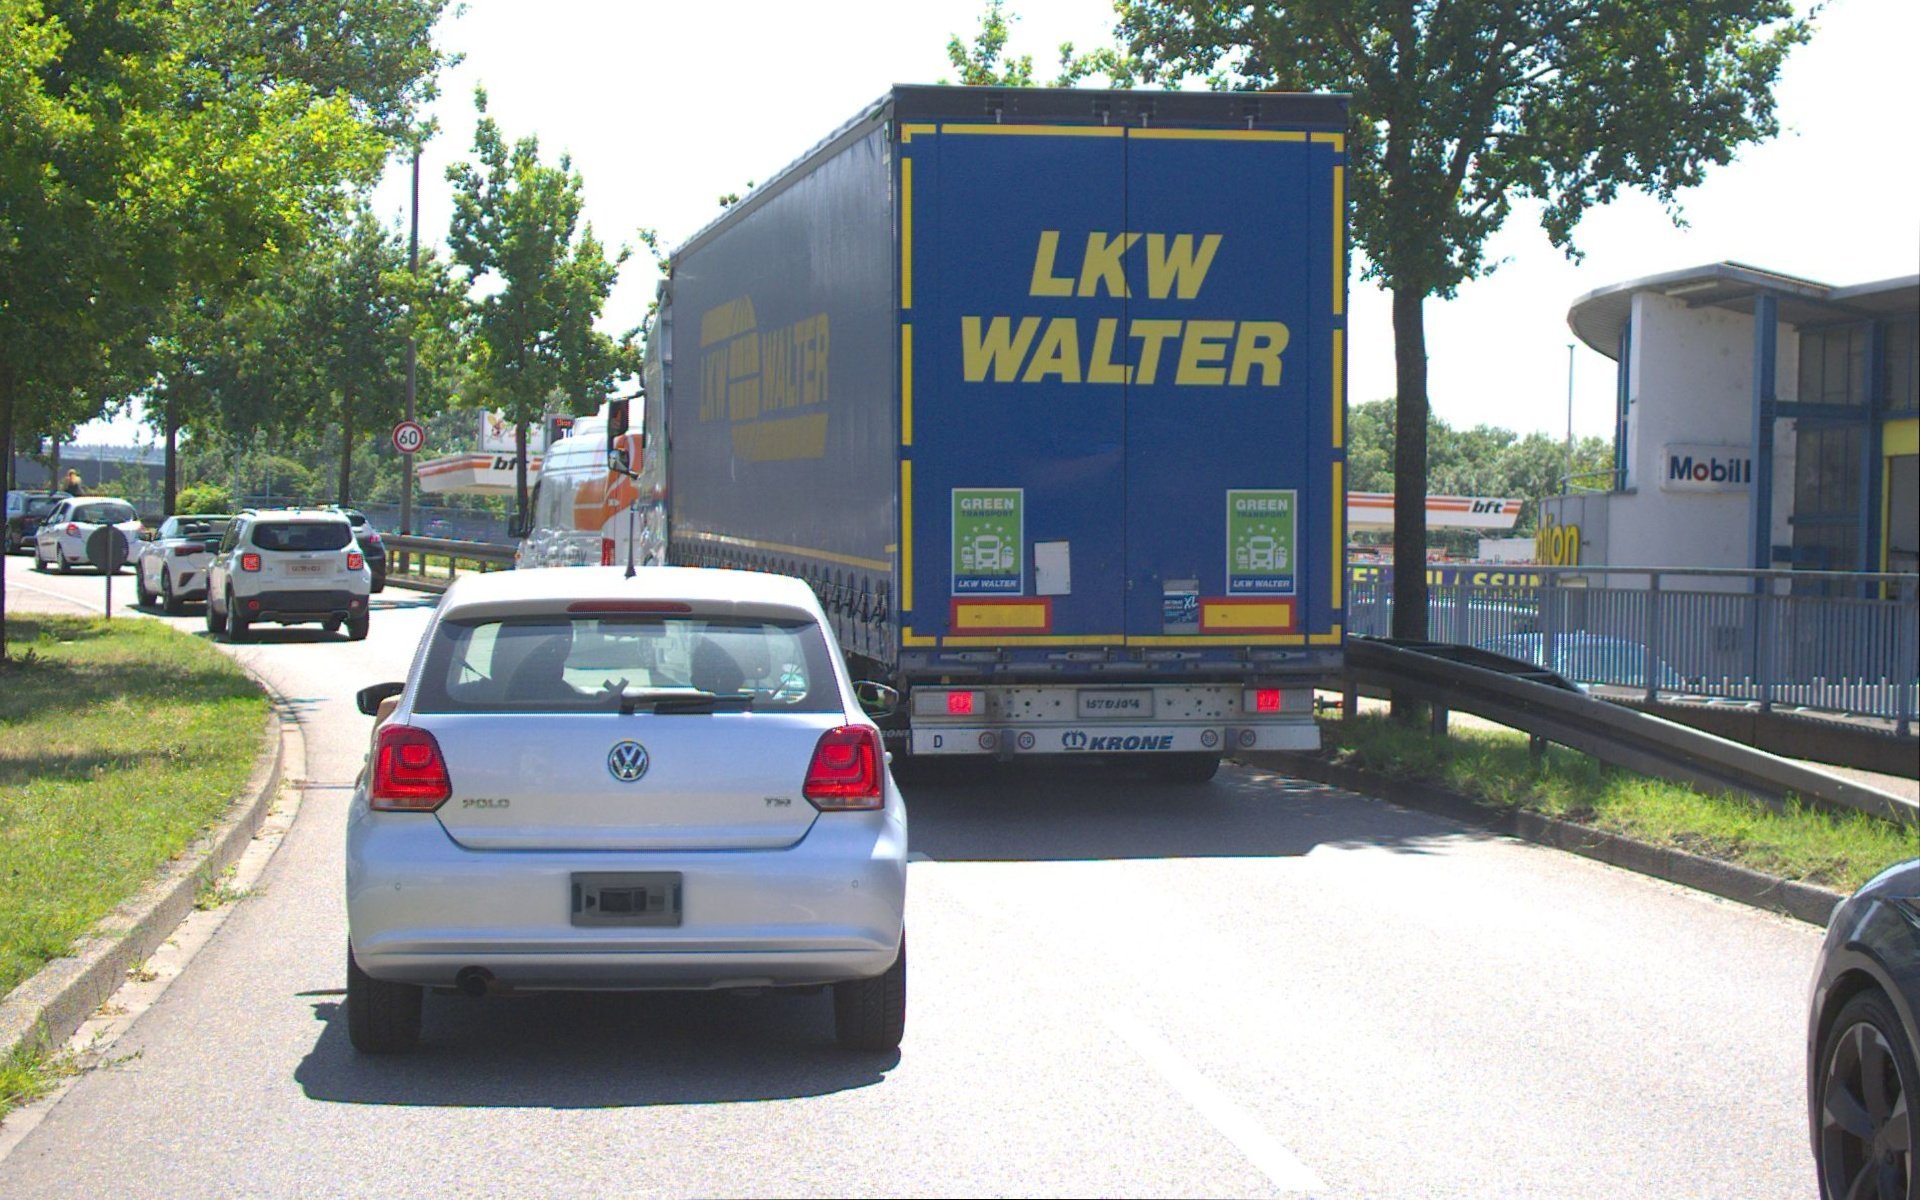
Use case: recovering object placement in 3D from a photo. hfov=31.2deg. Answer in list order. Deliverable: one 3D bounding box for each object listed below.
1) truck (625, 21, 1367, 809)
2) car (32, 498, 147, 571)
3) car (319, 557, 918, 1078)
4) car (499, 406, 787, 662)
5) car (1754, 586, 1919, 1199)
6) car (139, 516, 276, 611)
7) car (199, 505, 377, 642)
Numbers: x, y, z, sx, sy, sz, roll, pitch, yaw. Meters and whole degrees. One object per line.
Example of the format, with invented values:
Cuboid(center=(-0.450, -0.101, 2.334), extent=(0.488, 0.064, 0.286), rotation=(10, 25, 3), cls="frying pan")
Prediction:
Cuboid(center=(-0.577, -1.161, 26.672), extent=(2.832, 4.184, 16.479), rotation=(1, 1, -10), cls="truck")
Cuboid(center=(-17.046, -1.289, 67.235), extent=(1.607, 1.355, 3.663), rotation=(1, 1, -23), cls="car")
Cuboid(center=(-1.040, 0.595, 11.369), extent=(1.646, 1.434, 3.537), rotation=(1, 0, -3), cls="car")
Cuboid(center=(-4.029, -0.878, 42.410), extent=(2.175, 2.890, 6.361), rotation=(1, 2, -17), cls="car")
Cuboid(center=(2.737, 0.729, 5.338), extent=(1.604, 1.451, 4.236), rotation=(1, 0, -6), cls="car")
Cuboid(center=(-11.584, -0.581, 52.776), extent=(1.494, 1.355, 3.664), rotation=(1, 1, -21), cls="car")
Cuboid(center=(-8.988, -0.362, 45.757), extent=(1.903, 1.712, 4.225), rotation=(1, 0, -17), cls="car")
